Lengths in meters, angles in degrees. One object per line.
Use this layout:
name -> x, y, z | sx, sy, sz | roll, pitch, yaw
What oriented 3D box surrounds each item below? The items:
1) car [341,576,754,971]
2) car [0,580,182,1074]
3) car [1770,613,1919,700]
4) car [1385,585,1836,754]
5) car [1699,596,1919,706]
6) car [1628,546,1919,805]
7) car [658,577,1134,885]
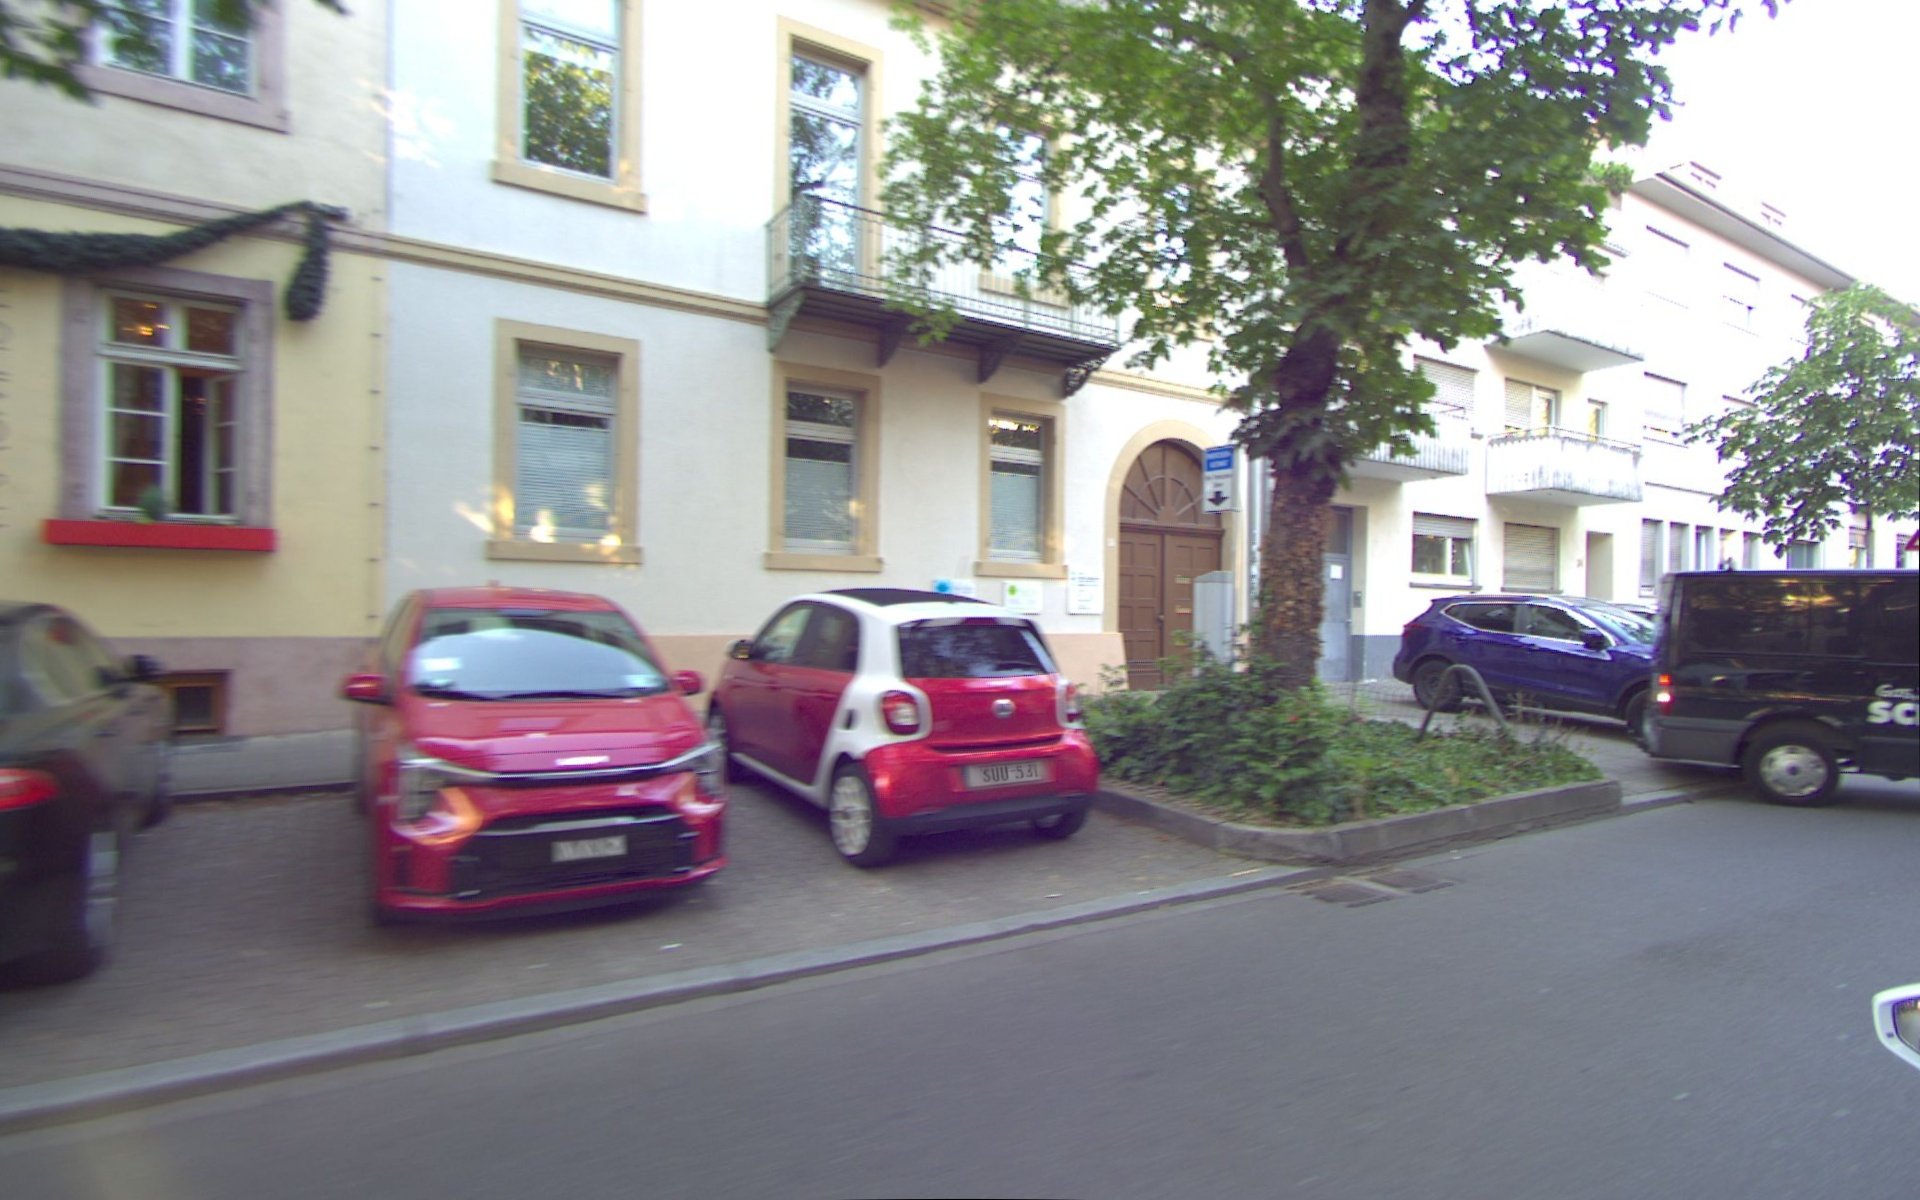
car -> -2.638, 0.648, 5.870 | 1.641, 1.469, 3.663 | 1, 2, -32
car -> -4.704, 0.653, 4.479 | 1.701, 1.426, 4.394 | 2, 0, -35
car -> 18.433, 1.095, 19.357 | 1.758, 1.514, 4.011 | 1, 1, -28
car -> 7.888, 0.702, 12.646 | 1.909, 1.594, 4.330 | 1, 2, -32
car -> 16.440, 0.867, 18.054 | 2.133, 1.789, 4.639 | 1, 0, -32
car -> 8.575, 0.599, 8.400 | 4.921, 2.017, 2.184 | 0, 0, 33
car -> -0.817, 0.682, 7.642 | 1.752, 1.559, 4.330 | 2, 1, -32
